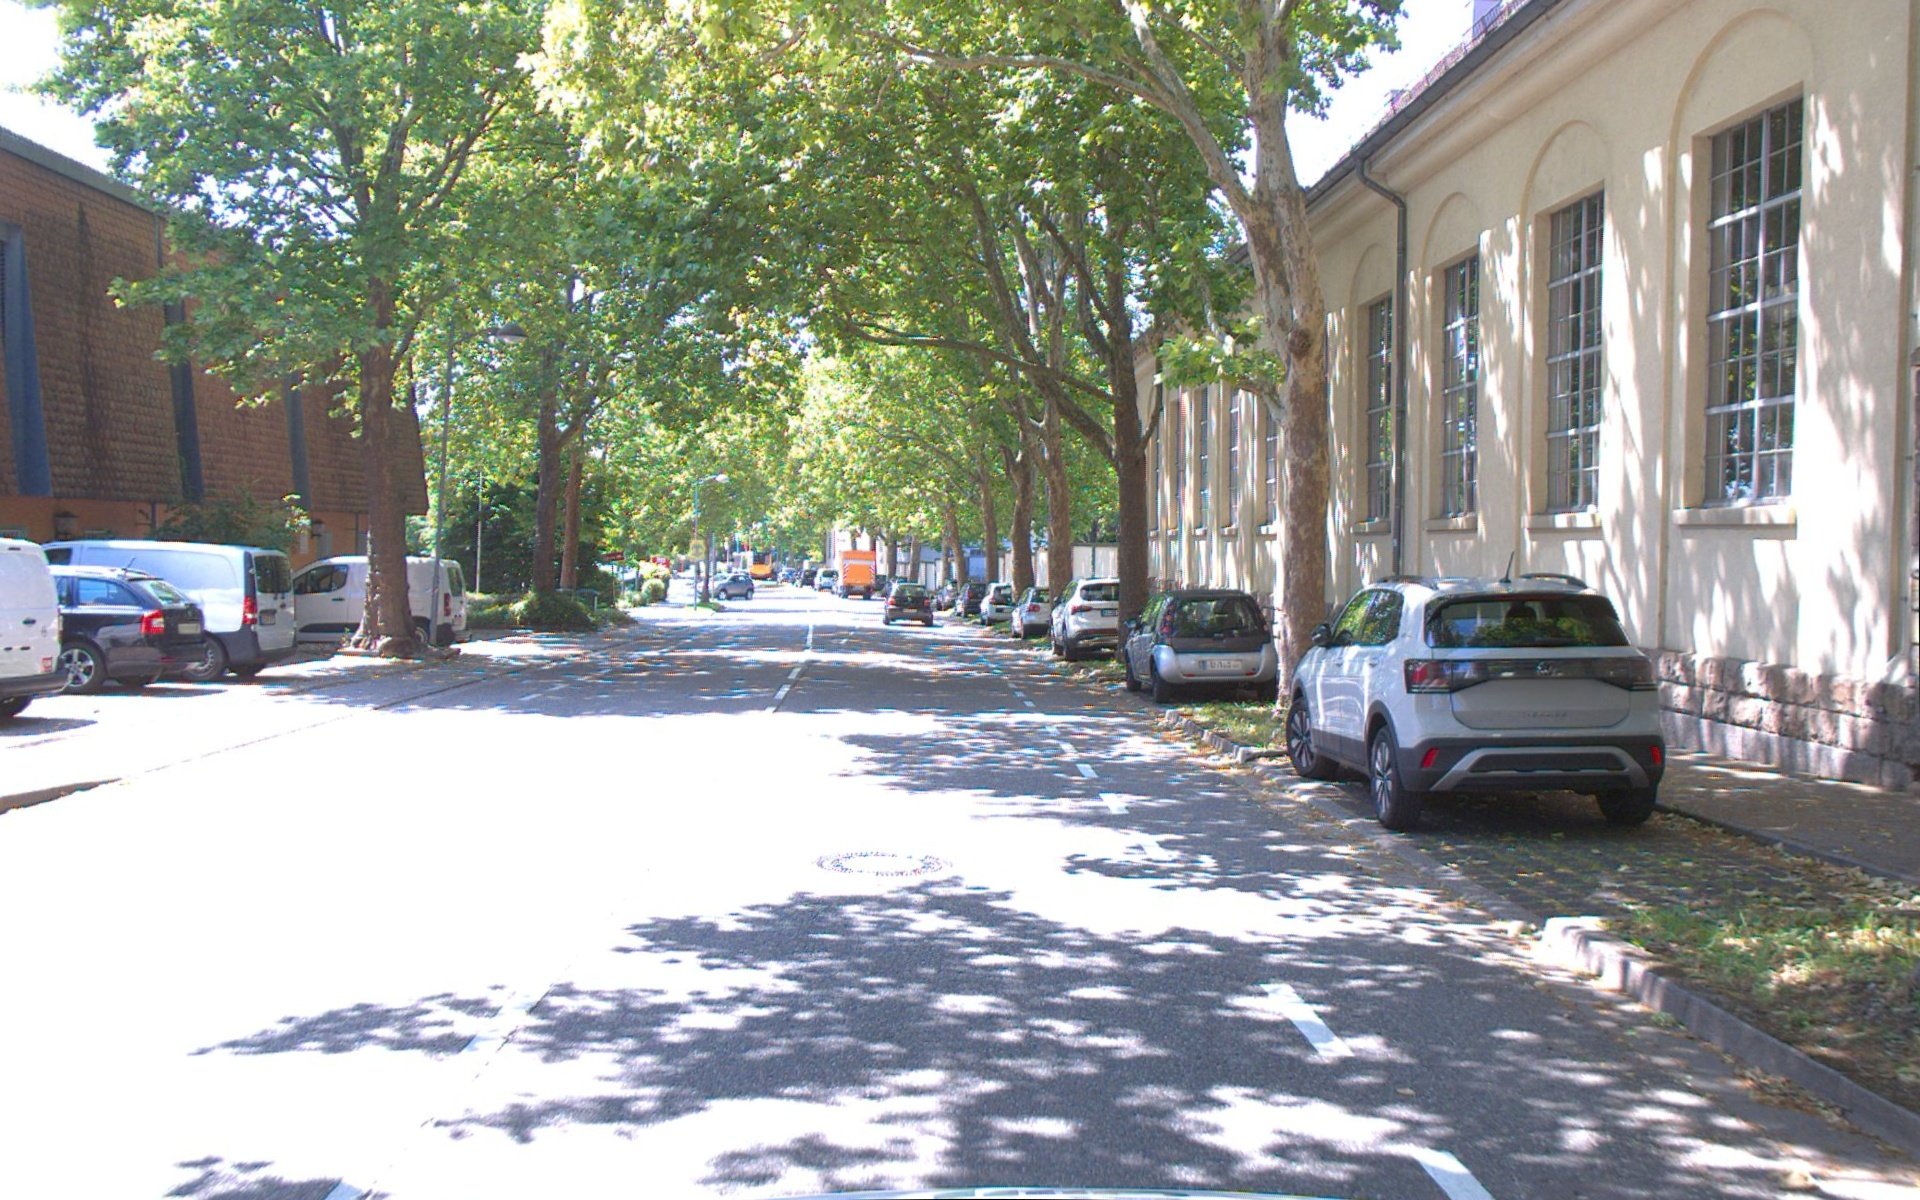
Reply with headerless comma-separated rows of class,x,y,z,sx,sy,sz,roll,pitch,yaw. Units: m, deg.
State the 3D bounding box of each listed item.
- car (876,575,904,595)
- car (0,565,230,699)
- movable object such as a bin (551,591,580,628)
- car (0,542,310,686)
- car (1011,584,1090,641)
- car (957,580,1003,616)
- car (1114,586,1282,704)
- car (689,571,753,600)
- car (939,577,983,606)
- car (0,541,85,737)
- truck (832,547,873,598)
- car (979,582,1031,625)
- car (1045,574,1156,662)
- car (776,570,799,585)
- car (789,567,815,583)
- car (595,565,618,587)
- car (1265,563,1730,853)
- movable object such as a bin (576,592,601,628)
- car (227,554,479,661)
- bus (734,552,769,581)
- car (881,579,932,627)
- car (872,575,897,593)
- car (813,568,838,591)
car,-5.046,-1.039,118.464,1.733,1.398,3.724,0,0,-7
car,-11.444,0.356,20.537,3.909,1.542,1.866,2,0,-5
movable object such as a bin,-11.772,0.270,49.357,0.720,1.097,0.701,0,1,-3
car,-11.606,0.168,23.043,4.337,1.836,1.901,2,0,-5
car,2.466,0.303,45.976,1.731,1.458,3.873,-2,1,-4
car,0.852,-0.123,73.059,1.731,1.491,3.873,-2,1,-4
car,3.282,0.565,23.583,1.588,1.465,4.431,-2,1,-2
car,-14.507,-0.852,100.692,1.954,1.695,3.996,-1,-1,26
car,0.025,-0.428,82.621,1.733,1.398,3.724,-2,1,-7
car,-10.938,0.304,15.985,3.909,1.824,1.866,2,0,-5
truck,-7.174,-1.785,109.598,2.326,3.189,5.759,0,-1,-8
car,1.628,0.106,60.604,1.546,1.491,3.873,-1,1,-3
car,2.923,0.326,35.378,1.771,1.718,4.750,-2,1,-2
car,-16.813,-2.160,160.997,1.737,1.398,3.716,-2,1,-14
car,-13.967,-2.209,145.948,1.737,1.398,3.715,-2,1,-15
car,-33.451,-2.261,156.268,1.960,2.049,3.984,0,-1,-15
car,3.517,0.566,11.844,1.706,1.584,4.780,-2,1,-1
movable object such as a bin,-11.098,0.283,49.434,0.611,1.066,0.620,0,1,-1
car,-11.375,0.133,31.219,4.048,1.836,1.901,2,0,-5
bus,-23.975,-3.786,189.576,2.619,3.205,11.155,-1,0,-14
car,-1.904,0.079,57.763,1.677,1.472,4.056,-1,2,-3
car,-5.982,-1.261,130.821,1.733,1.398,3.724,-2,1,-7
car,-10.699,-1.623,131.542,1.843,1.715,3.994,0,-1,-7
